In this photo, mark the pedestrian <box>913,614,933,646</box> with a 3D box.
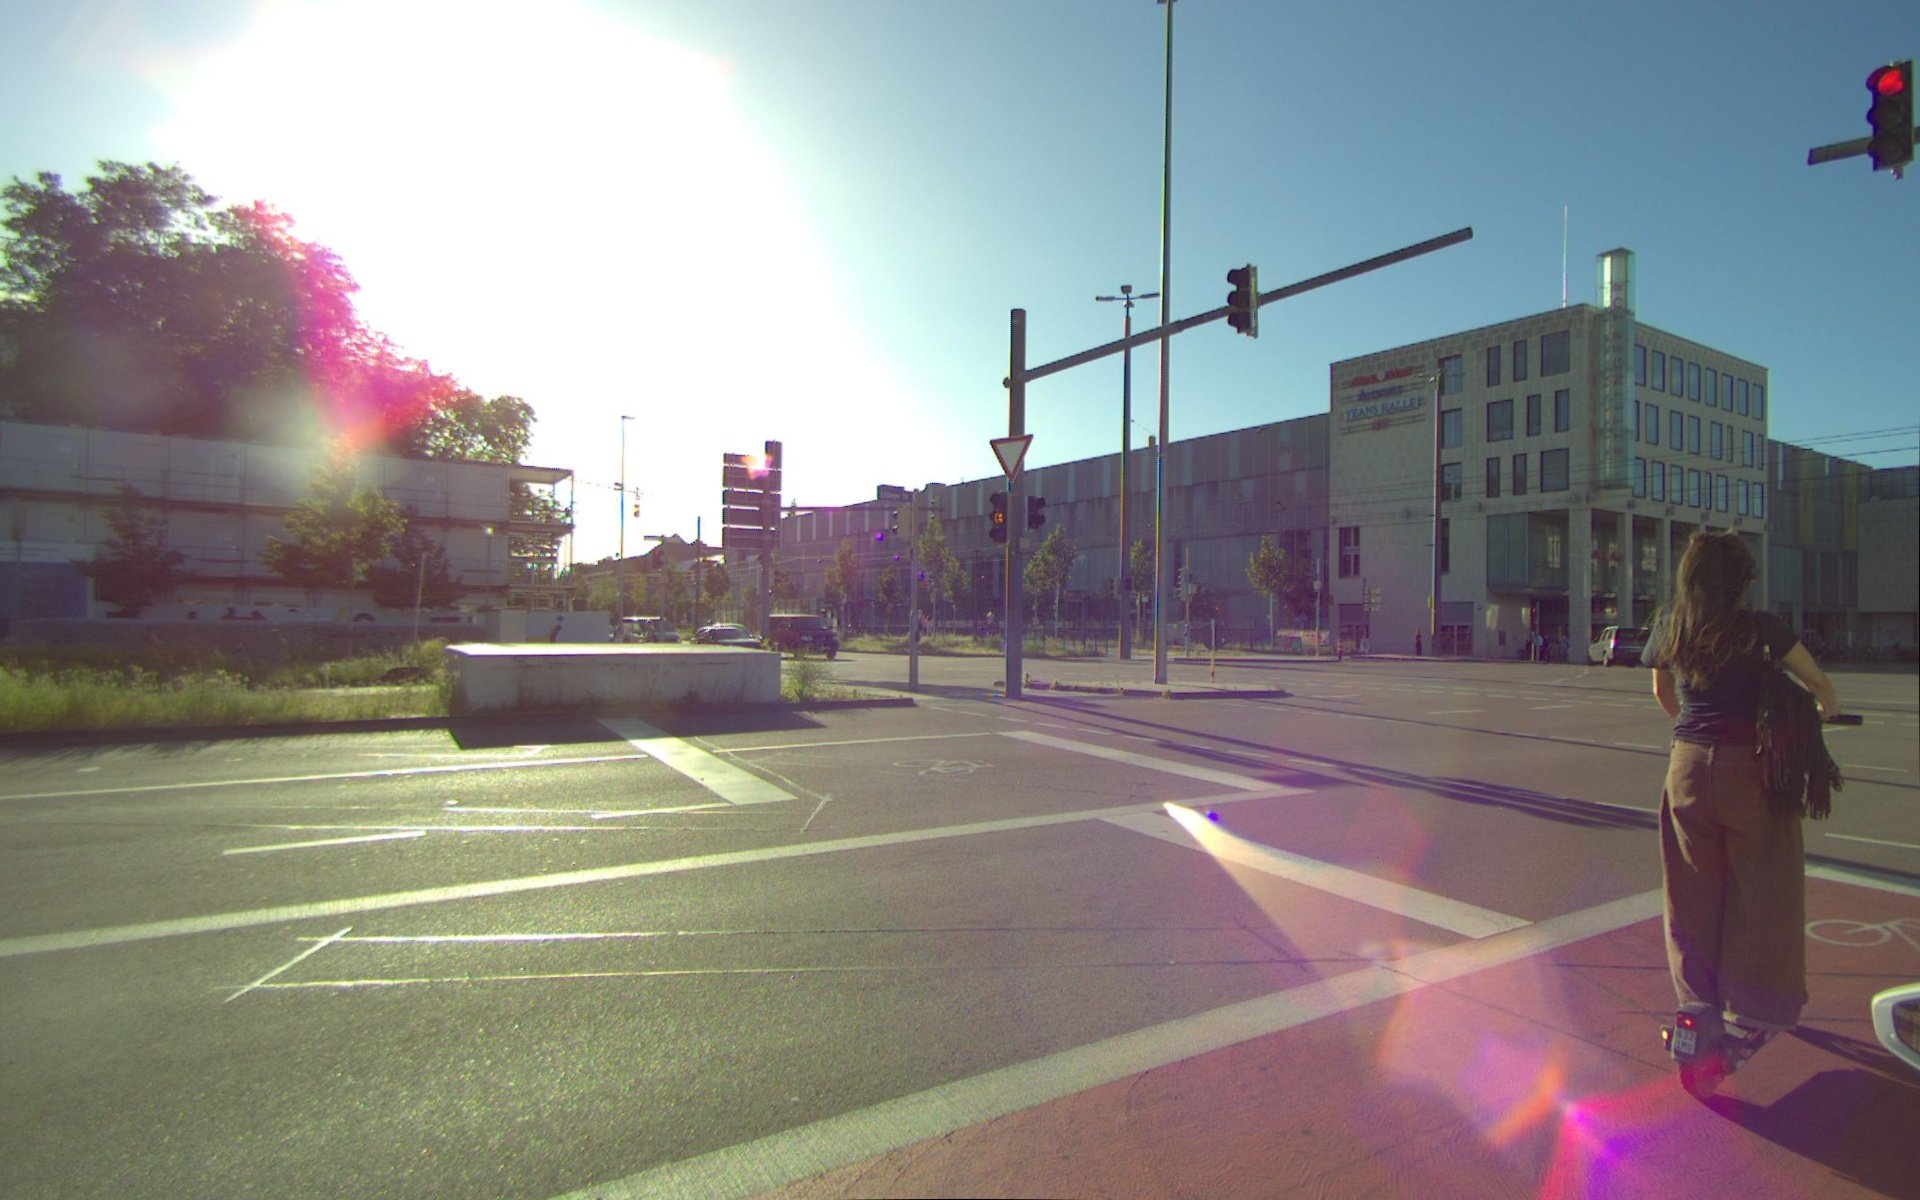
[{"bbox_3d":[-2.196,1.764,59.645,0.889,1.855,0.787,1,-1,-35],"label":"pedestrian"}]

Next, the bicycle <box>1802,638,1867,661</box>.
[{"bbox_3d":[63.709,3.594,73.197,0.979,1.547,3.462,2,-2,-40],"label":"bicycle"}]

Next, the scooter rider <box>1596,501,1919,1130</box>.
[{"bbox_3d":[2.750,0.625,3.392,0.801,1.798,0.725,1,-1,-30],"label":"scooter rider"}]

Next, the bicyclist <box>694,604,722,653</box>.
[{"bbox_3d":[-14.015,1.563,55.752,1.007,2.677,1.610,1,-1,-34],"label":"bicyclist"}]

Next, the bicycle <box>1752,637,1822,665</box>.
[{"bbox_3d":[54.508,3.325,66.247,0.979,1.719,3.462,1,-2,-40],"label":"bicycle"}]

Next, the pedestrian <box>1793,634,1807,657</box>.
[{"bbox_3d":[62.302,3.373,74.509,0.689,1.664,0.648,1,-1,-38],"label":"pedestrian"}]

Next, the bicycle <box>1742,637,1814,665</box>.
[{"bbox_3d":[52.862,3.263,64.957,0.979,1.719,3.462,1,-2,-40],"label":"bicycle"}]

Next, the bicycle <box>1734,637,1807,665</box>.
[{"bbox_3d":[51.122,3.194,63.419,0.979,1.719,3.462,1,-2,-40],"label":"bicycle"}]

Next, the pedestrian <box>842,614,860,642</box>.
[{"bbox_3d":[-7.157,1.828,65.697,0.889,1.855,0.787,1,-1,-35],"label":"pedestrian"}]

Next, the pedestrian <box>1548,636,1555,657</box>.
[{"bbox_3d":[40.308,3.141,68.444,0.381,1.431,0.437,0,-1,32],"label":"pedestrian"}]

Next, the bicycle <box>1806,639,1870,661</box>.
[{"bbox_3d":[64.509,3.650,73.845,0.979,1.547,3.462,2,-2,-40],"label":"bicycle"}]

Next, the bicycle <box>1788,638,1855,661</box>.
[{"bbox_3d":[60.385,3.438,70.465,0.979,1.547,3.462,2,-2,-40],"label":"bicycle"}]

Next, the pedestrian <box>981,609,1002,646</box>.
[{"bbox_3d":[1.585,1.371,50.593,0.788,1.855,0.706,1,-1,-37],"label":"pedestrian"}]

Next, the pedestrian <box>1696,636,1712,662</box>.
[{"bbox_3d":[49.769,3.273,67.149,0.776,1.664,0.690,-1,-2,45],"label":"pedestrian"}]

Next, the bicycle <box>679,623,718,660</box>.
[{"bbox_3d":[-14.843,2.308,56.931,1.007,2.040,3.472,1,-2,-33],"label":"bicycle"}]

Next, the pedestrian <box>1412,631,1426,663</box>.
[{"bbox_3d":[24.417,2.493,53.437,0.543,1.716,0.521,1,-1,-40],"label":"pedestrian"}]

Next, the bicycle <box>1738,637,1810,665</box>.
[{"bbox_3d":[51.948,3.231,64.153,0.979,1.719,3.462,1,-2,-40],"label":"bicycle"}]

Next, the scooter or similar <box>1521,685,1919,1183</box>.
[{"bbox_3d":[2.716,0.939,3.371,1.645,1.218,0.725,1,-1,-30],"label":"scooter or similar"}]

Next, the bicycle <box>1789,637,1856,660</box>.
[{"bbox_3d":[61.192,3.455,71.297,0.979,1.547,3.462,2,-2,-40],"label":"bicycle"}]

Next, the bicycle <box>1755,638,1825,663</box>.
[{"bbox_3d":[55.259,3.333,66.916,0.979,1.547,3.462,2,-2,-40],"label":"bicycle"}]

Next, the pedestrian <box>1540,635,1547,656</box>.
[{"bbox_3d":[39.794,3.102,68.535,0.380,1.445,0.502,0,-1,29],"label":"pedestrian"}]

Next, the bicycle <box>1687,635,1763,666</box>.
[{"bbox_3d":[45.701,2.981,60.028,1.107,1.719,3.465,1,-2,-38],"label":"bicycle"}]

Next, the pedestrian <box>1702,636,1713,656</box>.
[{"bbox_3d":[54.901,3.405,73.741,0.630,1.454,0.474,0,-1,38],"label":"pedestrian"}]

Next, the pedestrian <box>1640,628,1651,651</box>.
[{"bbox_3d":[44.984,2.593,65.905,0.508,1.530,0.479,1,-1,-34],"label":"pedestrian"}]

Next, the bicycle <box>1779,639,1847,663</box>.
[{"bbox_3d":[58.877,3.483,69.384,0.979,1.547,3.462,2,-2,-40],"label":"bicycle"}]

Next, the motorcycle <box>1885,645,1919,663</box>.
[{"bbox_3d":[70.750,4.022,75.077,0.713,1.335,2.260,1,-2,-34],"label":"motorcycle"}]

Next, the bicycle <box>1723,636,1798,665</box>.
[{"bbox_3d":[49.146,3.084,61.734,1.107,1.719,3.465,1,-2,-38],"label":"bicycle"}]

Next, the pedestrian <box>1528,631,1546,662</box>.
[{"bbox_3d":[35.483,2.853,61.772,0.730,1.822,0.752,1,-1,-36],"label":"pedestrian"}]

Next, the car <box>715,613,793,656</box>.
[{"bbox_3d":[-10.389,1.699,50.419,1.981,2.040,4.821,1,-2,-36],"label":"car"}]

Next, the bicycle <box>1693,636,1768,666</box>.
[{"bbox_3d":[46.620,3.034,60.825,1.107,1.719,3.465,1,-2,-38],"label":"bicycle"}]

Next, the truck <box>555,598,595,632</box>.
[{"bbox_3d":[-33.474,1.330,87.254,1.979,2.875,6.293,1,-2,-33],"label":"truck"}]

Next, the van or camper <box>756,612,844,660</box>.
[{"bbox_3d":[-7.335,1.596,45.621,1.981,2.040,4.821,1,-2,-36],"label":"van or camper"}]

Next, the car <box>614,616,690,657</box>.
[{"bbox_3d":[-14.832,1.707,48.151,1.981,1.849,4.821,1,-2,-36],"label":"car"}]

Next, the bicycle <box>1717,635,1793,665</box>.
[{"bbox_3d":[48.217,3.017,60.934,1.107,1.719,3.465,1,-2,-38],"label":"bicycle"}]

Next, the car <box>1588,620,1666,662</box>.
[{"bbox_3d":[27.780,1.658,41.957,1.962,1.628,4.478,0,-1,24],"label":"car"}]

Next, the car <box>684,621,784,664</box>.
[{"bbox_3d":[-9.397,1.707,41.514,2.313,1.671,4.821,1,-2,-37],"label":"car"}]

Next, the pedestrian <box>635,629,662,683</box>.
[{"bbox_3d":[-9.975,1.778,32.136,0.619,1.674,0.935,1,-1,-30],"label":"pedestrian"}]

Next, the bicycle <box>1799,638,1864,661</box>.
[{"bbox_3d":[62.669,3.529,72.247,0.979,1.547,3.462,2,-2,-40],"label":"bicycle"}]
